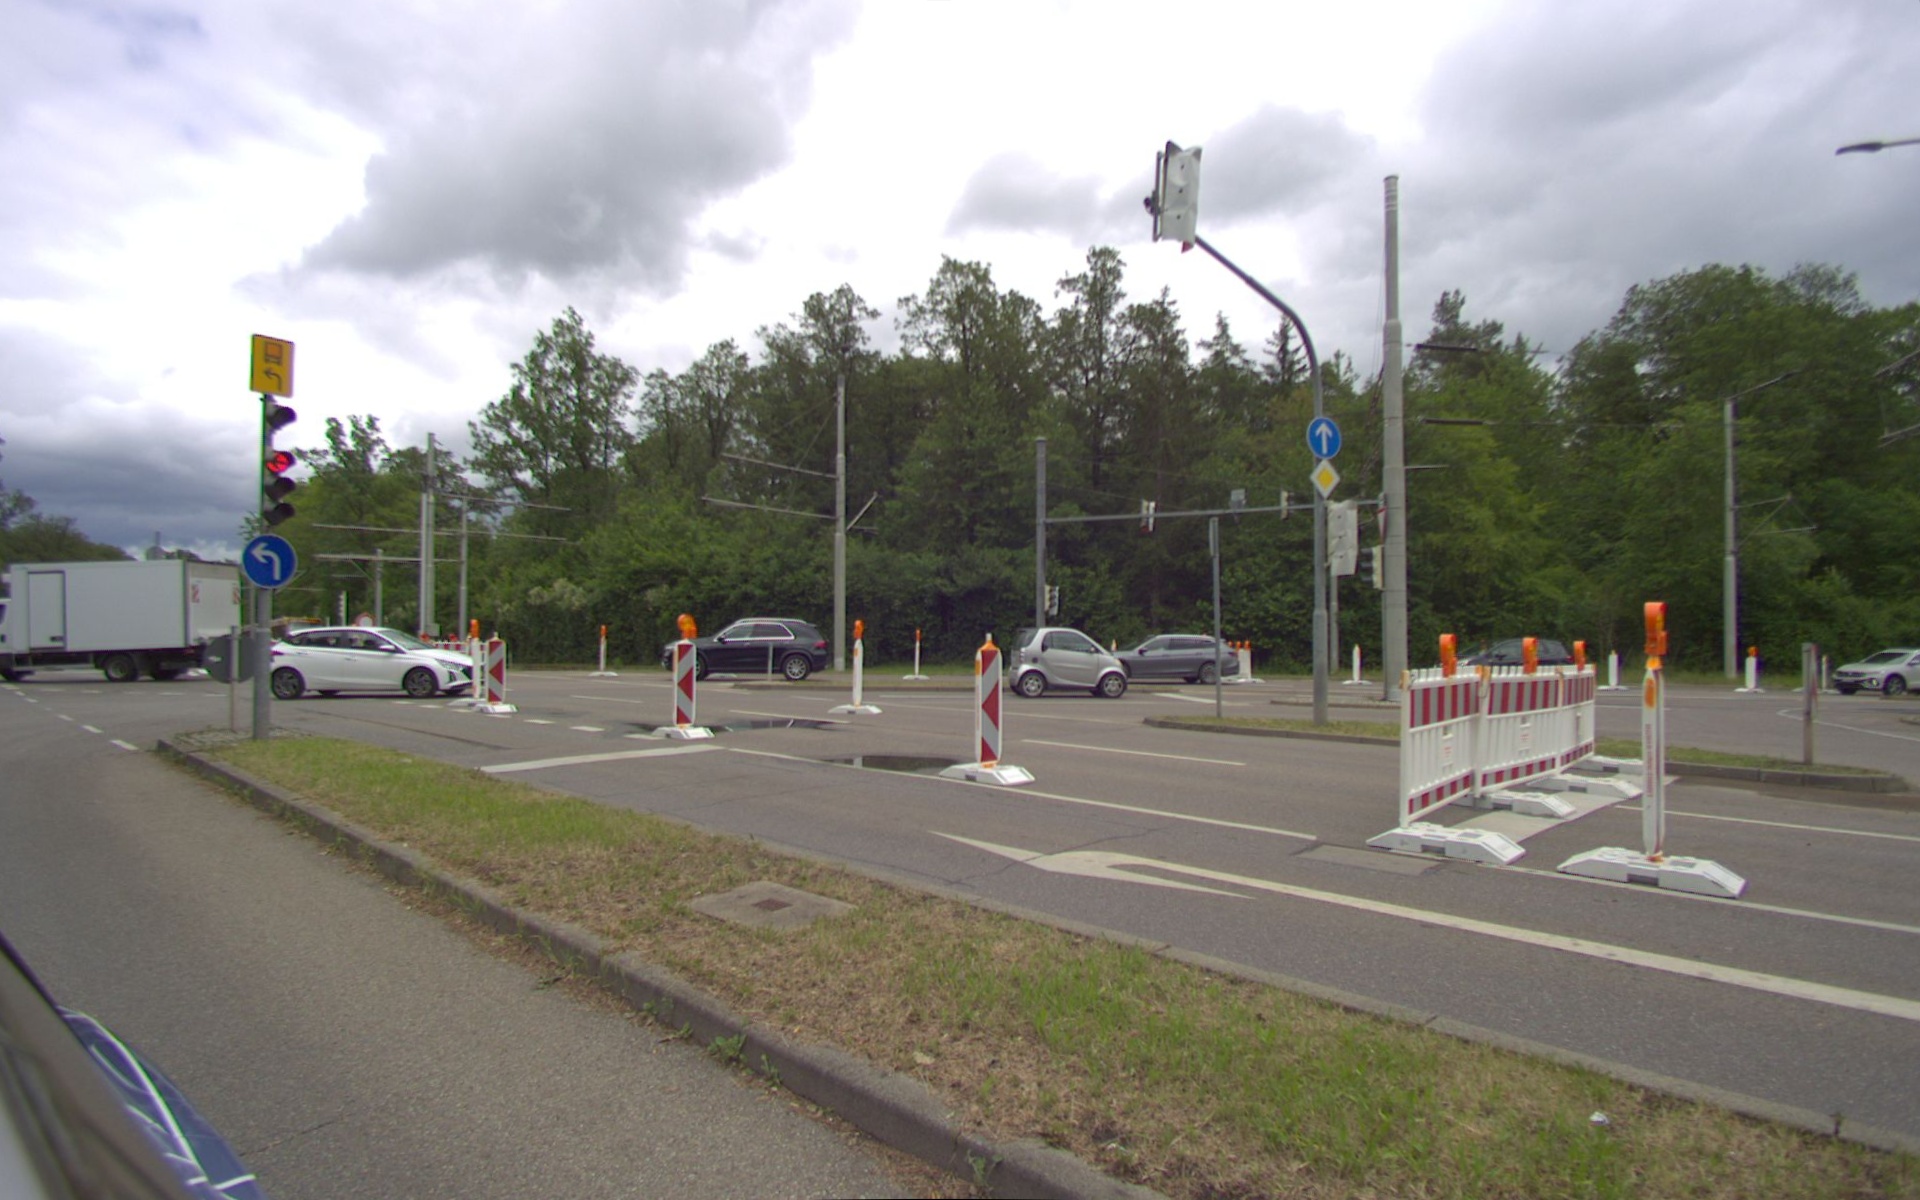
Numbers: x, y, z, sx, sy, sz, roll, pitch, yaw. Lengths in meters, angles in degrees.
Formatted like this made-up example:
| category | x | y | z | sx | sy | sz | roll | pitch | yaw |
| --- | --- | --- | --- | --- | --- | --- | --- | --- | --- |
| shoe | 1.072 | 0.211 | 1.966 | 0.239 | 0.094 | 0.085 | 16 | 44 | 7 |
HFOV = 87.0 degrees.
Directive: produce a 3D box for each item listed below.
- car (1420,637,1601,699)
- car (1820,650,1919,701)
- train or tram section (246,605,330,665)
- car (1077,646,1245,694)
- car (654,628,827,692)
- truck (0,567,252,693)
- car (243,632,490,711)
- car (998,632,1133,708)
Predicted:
| category | x | y | z | sx | sy | sz | roll | pitch | yaw |
| --- | --- | --- | --- | --- | --- | --- | --- | --- | --- |
| car | 17.221 | 2.121 | 31.798 | 4.619 | 1.859 | 1.970 | 1 | -3 | -4 |
| car | 31.156 | 2.464 | 33.221 | 4.245 | 1.619 | 1.970 | 1 | -3 | -4 |
| train or tram section | -57.788 | 2.808 | 86.685 | 2.911 | 4.686 | 18.565 | 4 | -3 | -43 |
| car | 6.032 | 2.111 | 30.751 | 4.619 | 1.372 | 1.970 | 1 | -3 | -4 |
| car | -6.273 | 1.745 | 29.432 | 4.770 | 1.763 | 1.971 | 1 | -3 | -7 |
| truck | -24.048 | 0.840 | 27.875 | 7.046 | 3.249 | 2.459 | 1 | -3 | -5 |
| car | -12.050 | 1.464 | 20.783 | 4.009 | 1.491 | 1.657 | 1 | -3 | -7 |
| car | 2.294 | 1.539 | 22.409 | 2.685 | 1.598 | 1.464 | 1 | -3 | -7 |
